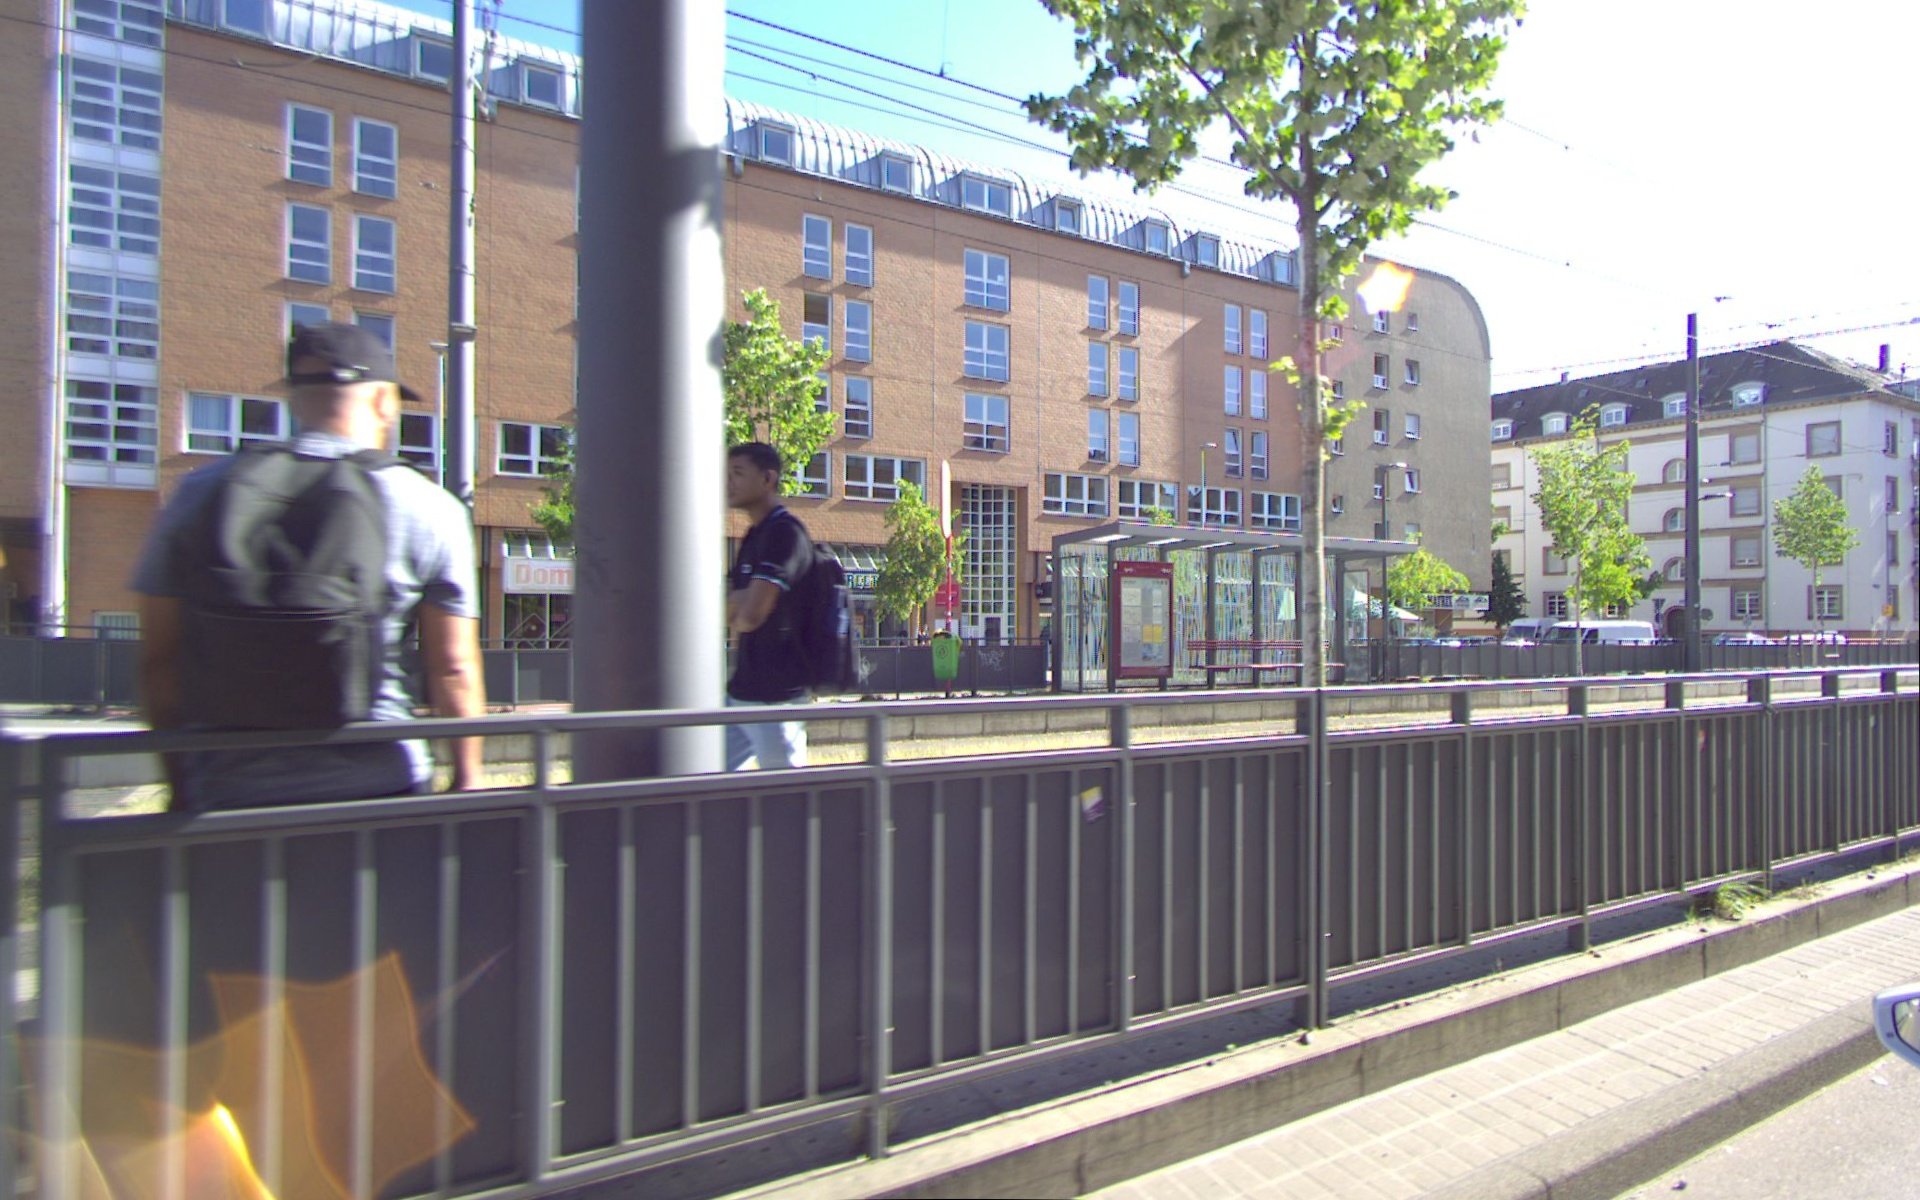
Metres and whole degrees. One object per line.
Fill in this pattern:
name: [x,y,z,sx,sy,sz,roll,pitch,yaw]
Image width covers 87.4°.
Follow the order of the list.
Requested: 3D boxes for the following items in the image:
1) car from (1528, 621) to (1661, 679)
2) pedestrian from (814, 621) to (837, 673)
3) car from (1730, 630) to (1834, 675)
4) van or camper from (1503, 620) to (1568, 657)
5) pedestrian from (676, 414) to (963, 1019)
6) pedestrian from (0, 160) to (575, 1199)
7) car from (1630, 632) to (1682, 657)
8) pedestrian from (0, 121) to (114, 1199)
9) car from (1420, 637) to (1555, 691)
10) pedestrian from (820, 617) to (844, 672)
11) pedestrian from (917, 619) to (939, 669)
car: [27.395,2.106,43.345,5.562,2.401,1.990,1,-1,-22]
pedestrian: [-4.854,1.688,36.271,0.637,1.864,0.617,1,-2,-30]
car: [33.668,2.148,41.142,3.952,1.706,1.985,2,-1,-29]
van or camper: [39.533,2.599,68.918,5.909,2.432,1.977,2,-2,-41]
pedestrian: [-0.489,0.348,3.403,0.743,1.746,0.705,1,-2,-30]
pedestrian: [-1.108,0.346,1.737,0.707,1.771,0.742,1,-2,-30]
car: [43.451,2.744,62.696,3.641,1.542,1.673,1,-2,-38]
pedestrian: [-1.791,0.281,1.446,0.707,1.909,0.742,1,-2,-30]
car: [16.218,1.950,30.842,3.953,1.483,1.869,2,-1,-30]
pedestrian: [-4.423,1.540,34.715,0.637,1.864,0.617,1,-2,-30]
pedestrian: [-1.199,1.647,37.518,0.637,1.864,0.618,1,-2,-29]
